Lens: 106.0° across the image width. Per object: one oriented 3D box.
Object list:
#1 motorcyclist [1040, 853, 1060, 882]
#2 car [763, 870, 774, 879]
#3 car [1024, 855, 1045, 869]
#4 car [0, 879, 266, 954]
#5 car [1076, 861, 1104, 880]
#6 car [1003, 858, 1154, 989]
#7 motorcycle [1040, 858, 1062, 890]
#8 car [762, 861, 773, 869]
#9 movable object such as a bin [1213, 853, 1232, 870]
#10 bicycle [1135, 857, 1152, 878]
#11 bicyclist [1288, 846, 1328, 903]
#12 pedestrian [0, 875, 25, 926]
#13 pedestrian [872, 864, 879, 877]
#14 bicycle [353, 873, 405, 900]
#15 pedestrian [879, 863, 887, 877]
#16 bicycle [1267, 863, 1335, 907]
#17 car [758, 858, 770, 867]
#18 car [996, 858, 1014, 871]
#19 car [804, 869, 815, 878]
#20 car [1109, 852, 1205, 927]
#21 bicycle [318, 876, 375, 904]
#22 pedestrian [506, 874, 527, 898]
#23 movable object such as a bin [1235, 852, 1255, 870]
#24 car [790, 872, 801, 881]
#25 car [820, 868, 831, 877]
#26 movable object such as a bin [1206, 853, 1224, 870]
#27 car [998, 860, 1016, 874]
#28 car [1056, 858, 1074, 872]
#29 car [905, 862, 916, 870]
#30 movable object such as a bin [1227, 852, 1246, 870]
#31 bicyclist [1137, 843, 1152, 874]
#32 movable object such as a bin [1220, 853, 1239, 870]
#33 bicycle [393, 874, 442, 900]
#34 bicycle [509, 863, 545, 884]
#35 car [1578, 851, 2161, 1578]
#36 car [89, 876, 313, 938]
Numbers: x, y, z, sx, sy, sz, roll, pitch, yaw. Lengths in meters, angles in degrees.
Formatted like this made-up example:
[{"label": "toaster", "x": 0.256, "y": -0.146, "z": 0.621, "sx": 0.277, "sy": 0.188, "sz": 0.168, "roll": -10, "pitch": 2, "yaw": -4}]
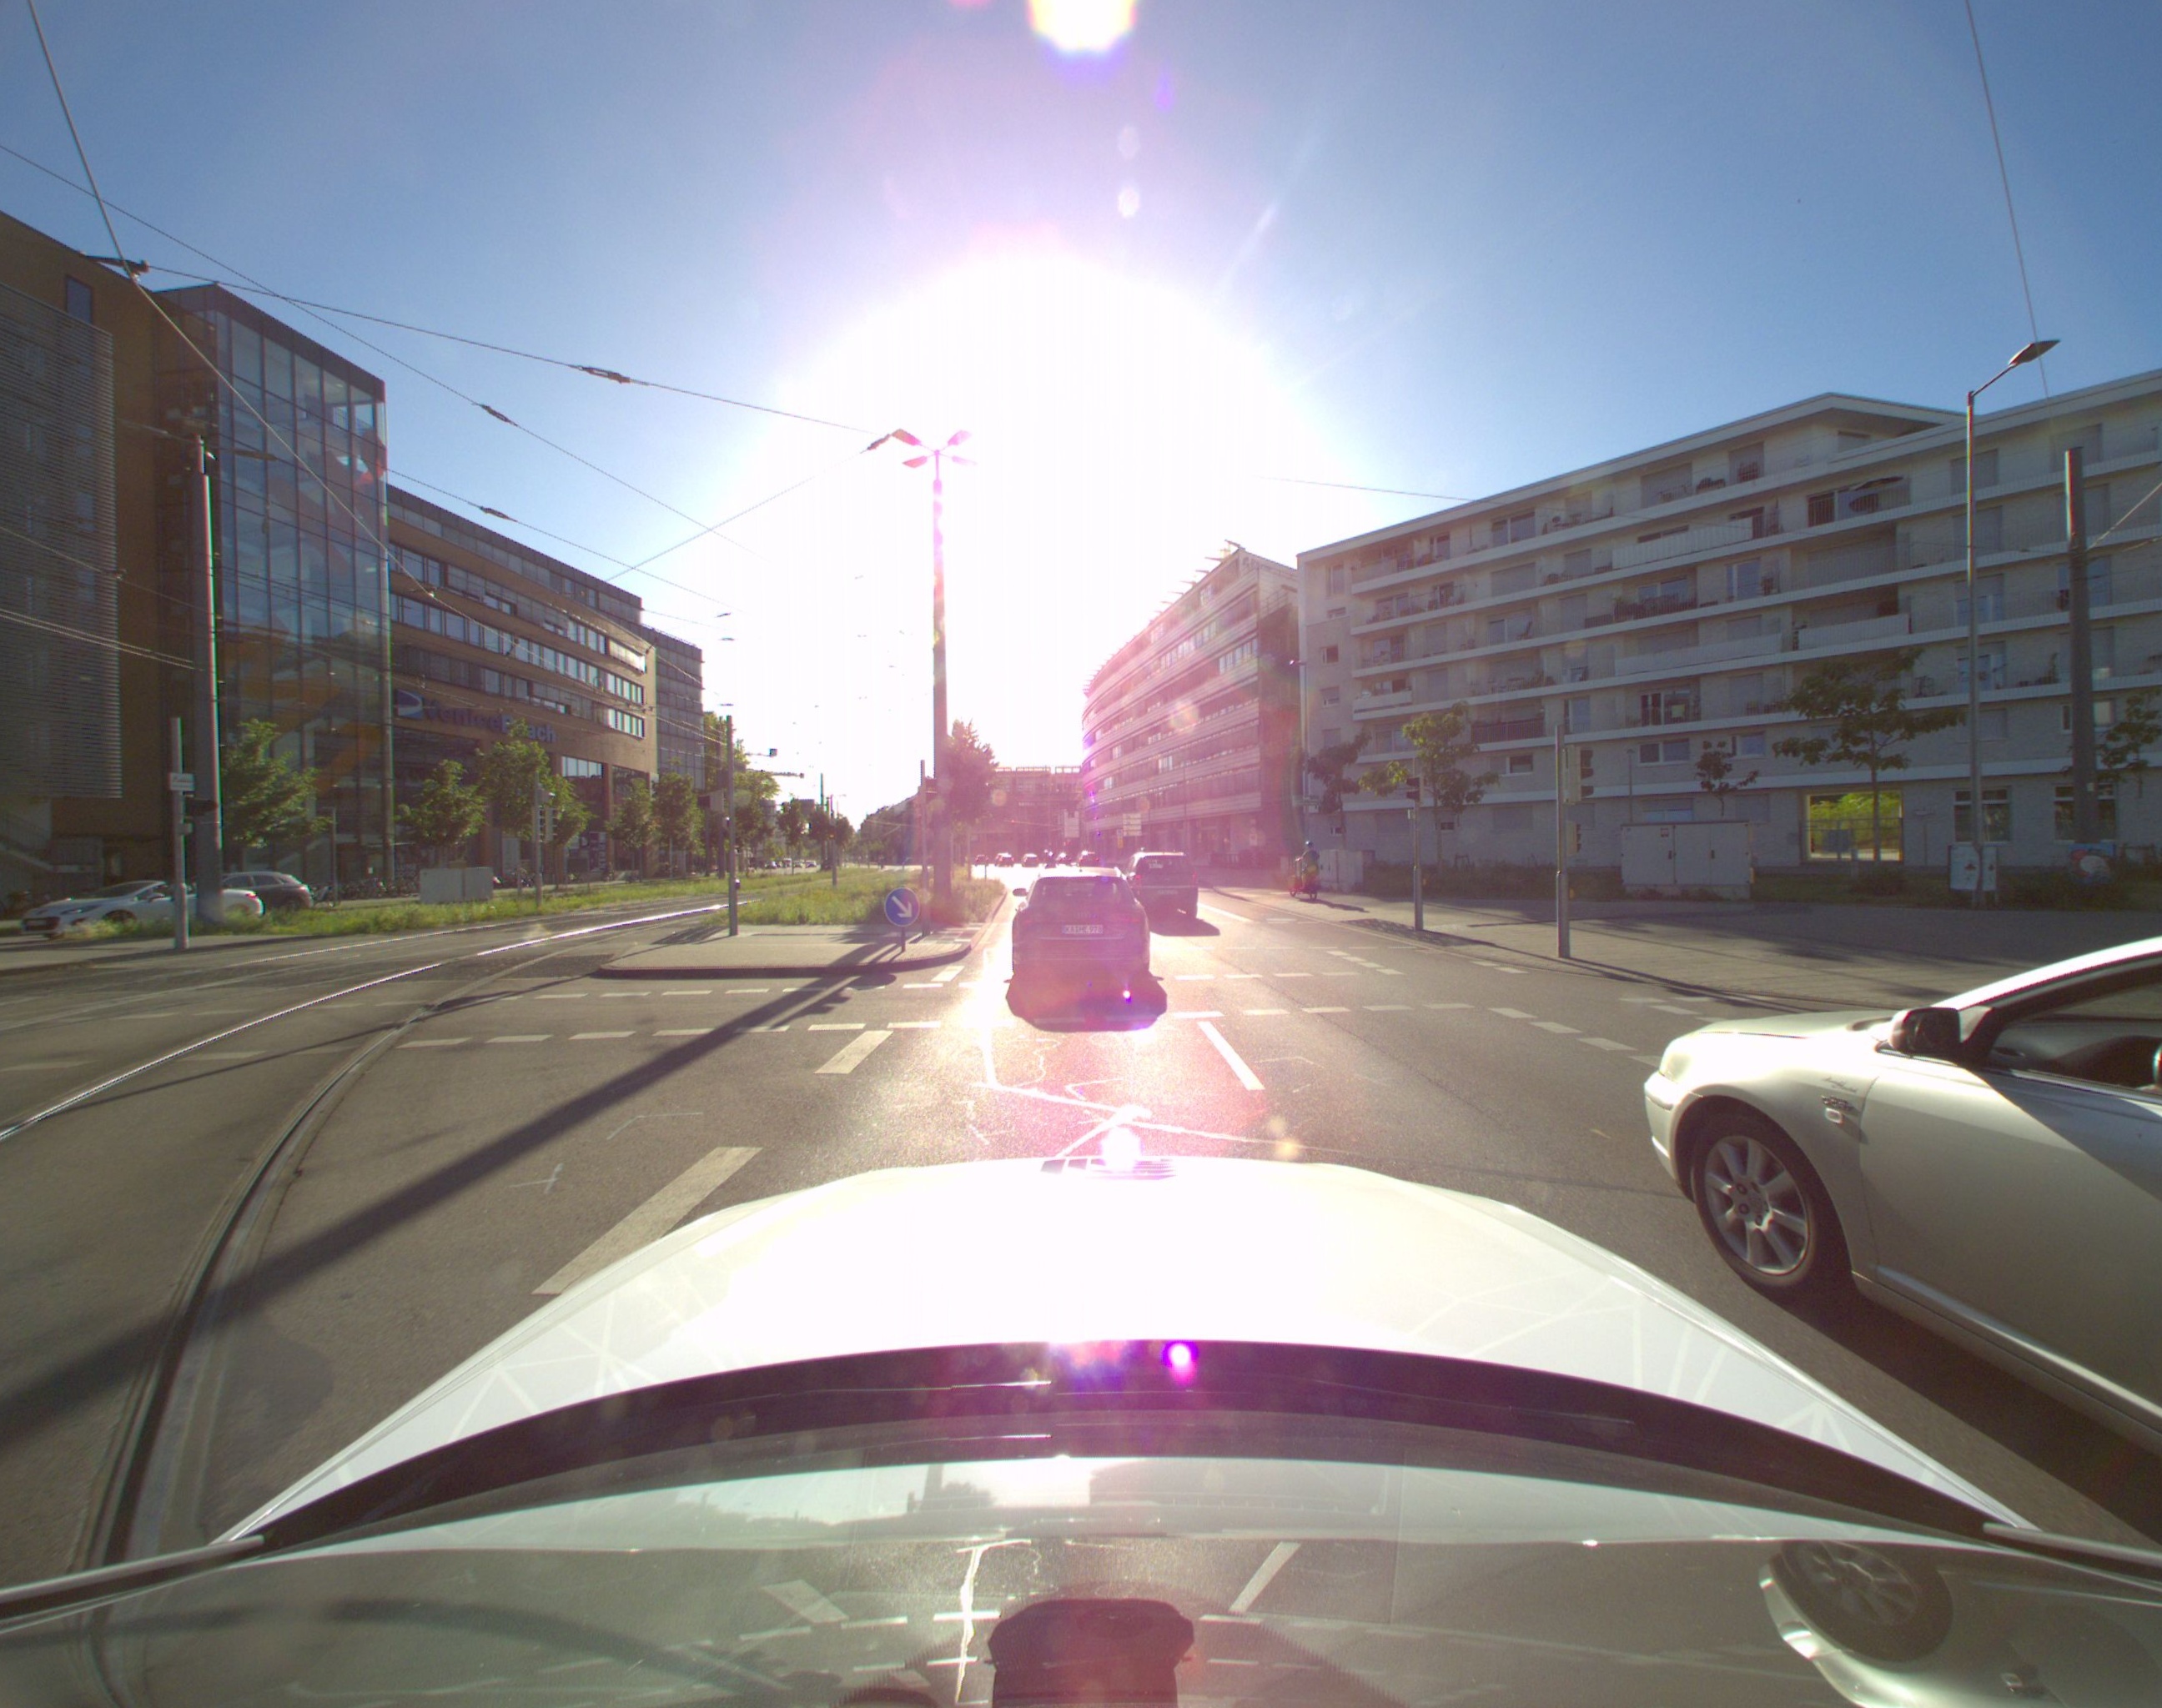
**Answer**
[{"label": "motorcyclist", "x": -1.423, "y": 0.628, "z": 37.706, "sx": 0.862, "sy": 1.326, "sz": 0.679, "roll": 0, "pitch": 0, "yaw": -8}, {"label": "car", "x": -64.275, "y": 4.229, "z": 167.379, "sx": 2.001, "sy": 1.684, "sz": 3.973, "roll": -1, "pitch": 1, "yaw": -21}, {"label": "car", "x": -5.560, "y": 0.880, "z": 96.778, "sx": 1.994, "sy": 1.596, "sz": 3.986, "roll": -1, "pitch": 0, "yaw": -10}, {"label": "car", "x": -25.149, "y": 1.564, "z": 21.735, "sx": 1.984, "sy": 1.545, "sz": 4.537, "roll": 0, "pitch": 1, "yaw": 5}, {"label": "car", "x": 0.847, "y": 1.696, "z": 83.782, "sx": 2.004, "sy": 1.715, "sz": 4.356, "roll": 1, "pitch": 1, "yaw": -11}, {"label": "car", "x": 0.049, "y": 0.862, "z": 12.023, "sx": 1.835, "sy": 1.453, "sz": 4.003, "roll": 1, "pitch": 1, "yaw": 2}, {"label": "motorcycle", "x": -1.412, "y": 0.913, "z": 37.829, "sx": 0.862, "sy": 1.393, "sz": 1.889, "roll": 0, "pitch": 0, "yaw": -7}, {"label": "car", "x": -80.692, "y": 2.883, "z": 209.681, "sx": 1.997, "sy": 2.013, "sz": 3.980, "roll": -1, "pitch": 1, "yaw": -15}, {"label": "movable object such as a bin", "x": 11.284, "y": 0.605, "z": 65.101, "sx": 1.063, "sy": 1.332, "sz": 1.117, "roll": -1, "pitch": 0, "yaw": -20}, {"label": "bicycle", "x": 3.342, "y": 0.694, "z": 43.269, "sx": 0.649, "sy": 1.043, "sz": 1.936, "roll": 0, "pitch": 1, "yaw": 11}, {"label": "bicyclist", "x": 6.994, "y": 0.608, "z": 25.116, "sx": 0.771, "sy": 1.706, "sz": 0.921, "roll": -1, "pitch": 0, "yaw": -32}, {"label": "pedestrian", "x": -39.096, "y": 1.675, "z": 29.402, "sx": 0.821, "sy": 1.824, "sz": 0.907, "roll": -1, "pitch": -1, "yaw": 9}, {"label": "pedestrian", "x": -28.354, "y": 2.287, "z": 112.385, "sx": 0.901, "sy": 1.824, "sz": 0.827, "roll": -1, "pitch": -1, "yaw": -9}, {"label": "bicycle", "x": -38.351, "y": 1.793, "z": 44.488, "sx": 2.542, "sy": 1.433, "sz": 0.909, "roll": -1, "pitch": 0, "yaw": 17}, {"label": "pedestrian", "x": -27.141, "y": 2.165, "z": 111.710, "sx": 0.901, "sy": 1.824, "sz": 0.827, "roll": -1, "pitch": -1, "yaw": -9}, {"label": "bicycle", "x": 6.830, "y": 0.924, "z": 25.376, "sx": 0.771, "sy": 1.262, "sz": 2.061, "roll": -1, "pitch": 1, "yaw": -32}, {"label": "car", "x": -75.021, "y": 1.933, "z": 192.838, "sx": 2.006, "sy": 2.013, "sz": 3.961, "roll": -2, "pitch": 1, "yaw": -31}, {"label": "car", "x": -9.960, "y": 1.350, "z": 106.182, "sx": 1.994, "sy": 1.706, "sz": 3.986, "roll": -1, "pitch": 0, "yaw": -10}, {"label": "car", "x": -57.160, "y": 4.136, "z": 171.403, "sx": 2.001, "sy": 1.684, "sz": 3.973, "roll": -1, "pitch": 1, "yaw": -21}, {"label": "car", "x": 1.900, "y": 0.847, "z": 21.596, "sx": 1.743, "sy": 1.696, "sz": 4.253, "roll": 2, "pitch": 1, "yaw": -5}, {"label": "bicycle", "x": -38.673, "y": 1.883, "z": 42.902, "sx": 2.440, "sy": 1.433, "sz": 1.081, "roll": -1, "pitch": 0, "yaw": 17}, {"label": "pedestrian", "x": -39.512, "y": 2.225, "z": 57.017, "sx": 0.812, "sy": 1.587, "sz": 0.969, "roll": 0, "pitch": 1, "yaw": -1}, {"label": "movable object such as a bin", "x": 12.433, "y": 0.532, "z": 61.768, "sx": 1.063, "sy": 1.332, "sz": 1.117, "roll": -1, "pitch": 0, "yaw": -20}, {"label": "car", "x": -59.888, "y": 4.753, "z": 170.738, "sx": 2.001, "sy": 1.684, "sz": 3.973, "roll": -1, "pitch": 1, "yaw": -21}, {"label": "car", "x": -53.901, "y": 3.814, "z": 171.497, "sx": 2.001, "sy": 1.684, "sz": 3.973, "roll": -1, "pitch": 1, "yaw": -21}, {"label": "movable object such as a bin", "x": 10.886, "y": 0.612, "z": 66.149, "sx": 1.063, "sy": 1.332, "sz": 1.117, "roll": -1, "pitch": 0, "yaw": -20}, {"label": "car", "x": -9.054, "y": 1.591, "z": 99.665, "sx": 1.992, "sy": 1.596, "sz": 3.990, "roll": -1, "pitch": 0, "yaw": -7}, {"label": "car", "x": -2.162, "y": 1.487, "z": 108.838, "sx": 1.992, "sy": 1.838, "sz": 3.990, "roll": -1, "pitch": 0, "yaw": -7}, {"label": "car", "x": -40.217, "y": 2.859, "z": 191.873, "sx": 1.999, "sy": 1.706, "sz": 3.976, "roll": -1, "pitch": 0, "yaw": -17}, {"label": "movable object such as a bin", "x": 12.022, "y": 0.540, "z": 62.963, "sx": 1.063, "sy": 1.332, "sz": 1.117, "roll": -1, "pitch": 0, "yaw": -20}, {"label": "bicyclist", "x": 3.377, "y": 0.223, "z": 43.257, "sx": 0.649, "sy": 1.642, "sz": 0.975, "roll": 0, "pitch": 1, "yaw": 11}, {"label": "movable object such as a bin", "x": 11.652, "y": 0.576, "z": 64.038, "sx": 1.063, "sy": 1.332, "sz": 1.117, "roll": -1, "pitch": 0, "yaw": -20}, {"label": "bicycle", "x": -38.284, "y": 1.899, "z": 46.990, "sx": 2.542, "sy": 1.433, "sz": 0.909, "roll": -1, "pitch": 0, "yaw": 17}, {"label": "bicycle", "x": -40.370, "y": 1.420, "z": 59.356, "sx": 2.402, "sy": 1.433, "sz": 0.792, "roll": -1, "pitch": 0, "yaw": 17}, {"label": "car", "x": 3.093, "y": 0.756, "z": 1.466, "sx": 1.739, "sy": 1.481, "sz": 4.631, "roll": 0, "pitch": 1, "yaw": 2}, {"label": "car", "x": -27.814, "y": 1.603, "z": 25.997, "sx": 1.981, "sy": 1.640, "sz": 4.425, "roll": 0, "pitch": 1, "yaw": 11}]
